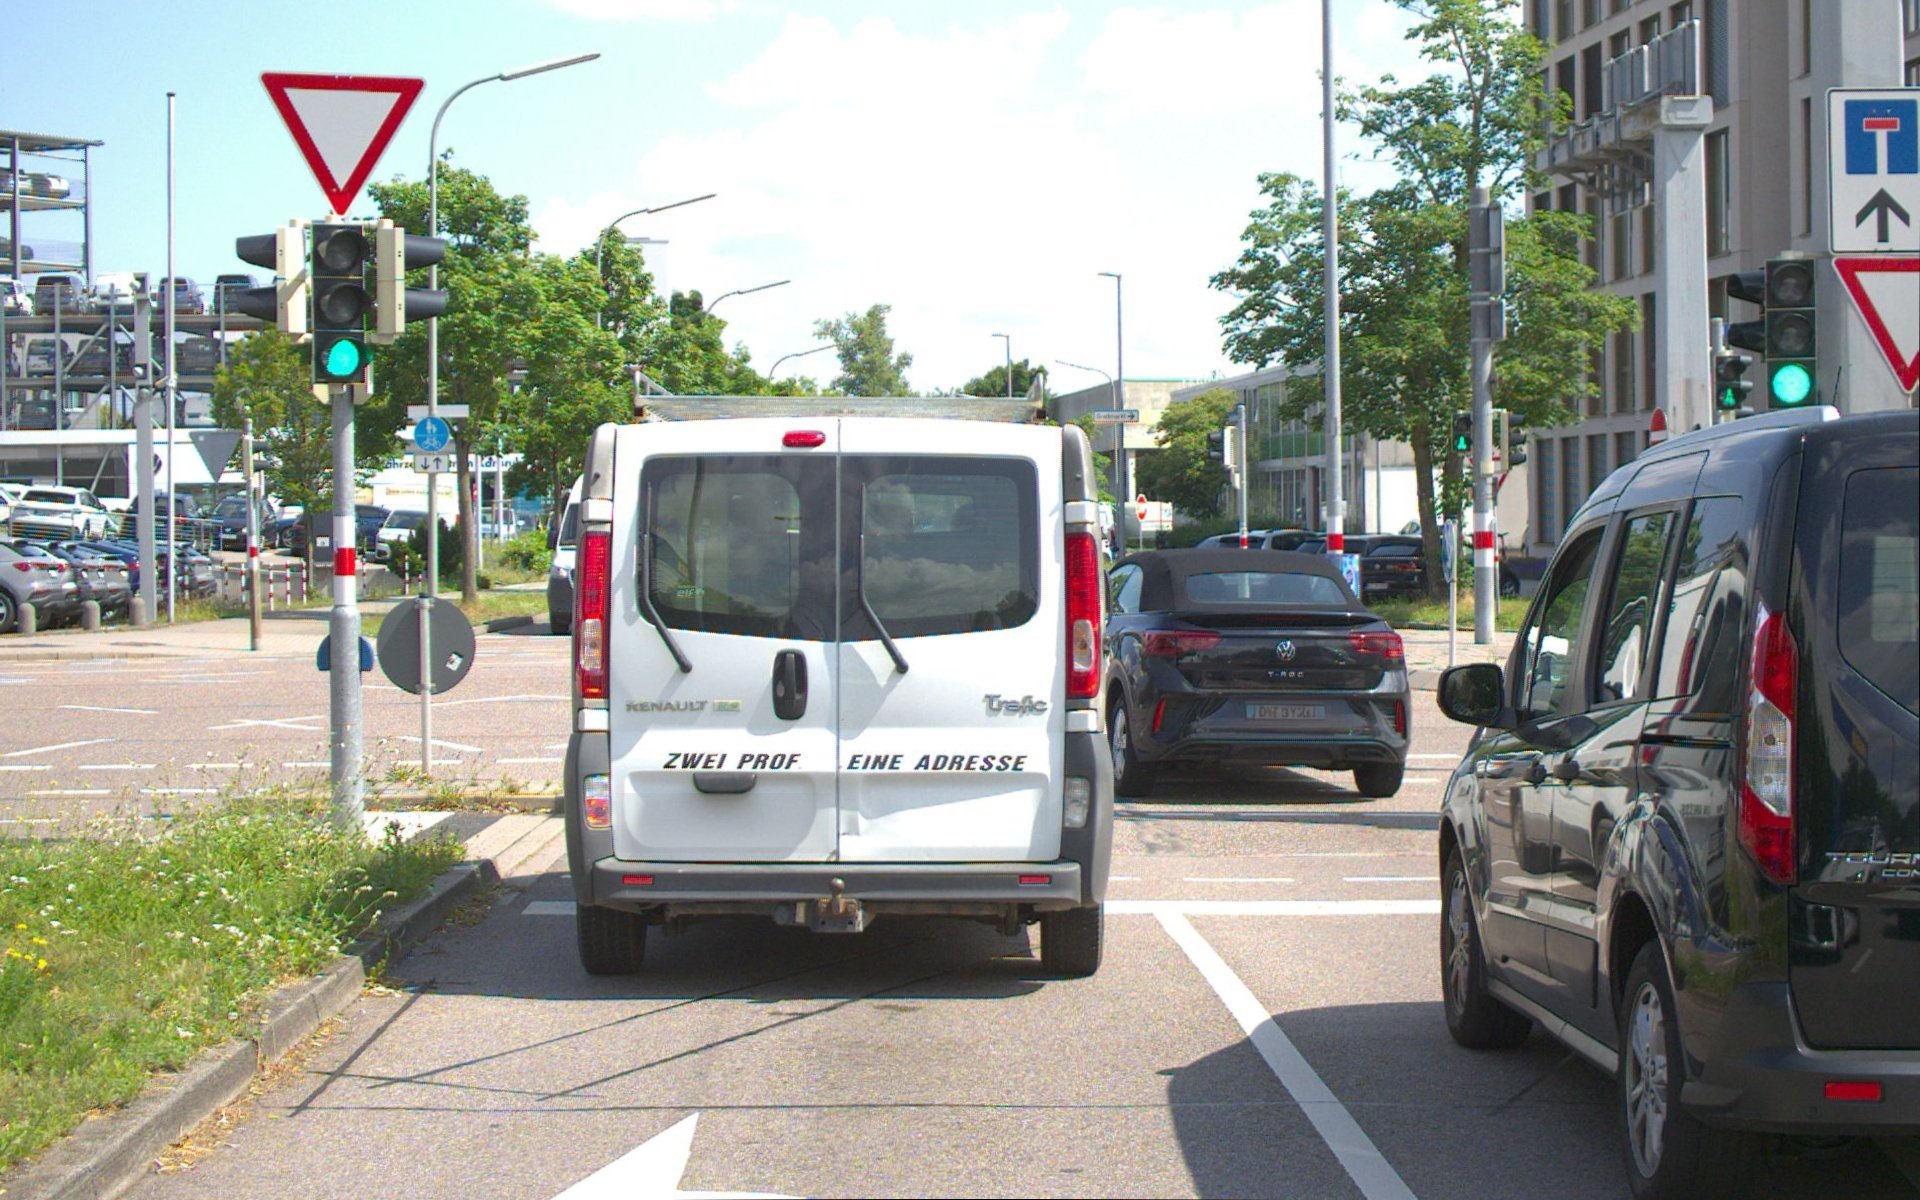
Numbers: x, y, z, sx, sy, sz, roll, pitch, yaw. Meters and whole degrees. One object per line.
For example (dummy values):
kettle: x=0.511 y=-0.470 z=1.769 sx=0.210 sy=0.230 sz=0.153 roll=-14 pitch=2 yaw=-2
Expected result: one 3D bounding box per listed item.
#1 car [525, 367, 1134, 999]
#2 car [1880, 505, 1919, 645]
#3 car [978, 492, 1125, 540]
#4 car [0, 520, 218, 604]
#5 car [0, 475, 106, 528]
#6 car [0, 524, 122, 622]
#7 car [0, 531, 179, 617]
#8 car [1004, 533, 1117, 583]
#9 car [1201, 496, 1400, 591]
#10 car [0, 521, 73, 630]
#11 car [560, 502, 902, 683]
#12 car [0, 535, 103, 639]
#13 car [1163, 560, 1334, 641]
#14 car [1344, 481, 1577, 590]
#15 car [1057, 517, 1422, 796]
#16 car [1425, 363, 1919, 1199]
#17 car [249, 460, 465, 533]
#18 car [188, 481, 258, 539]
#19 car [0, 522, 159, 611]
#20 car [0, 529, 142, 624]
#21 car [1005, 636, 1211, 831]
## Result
car: x=-0.468 y=0.244 z=13.480 sx=1.973 sy=2.053 sz=4.565 roll=0 pitch=1 yaw=-1
car: x=14.957 y=-0.293 z=45.450 sx=4.975 sy=1.831 sz=2.000 roll=1 pitch=0 yaw=-8
car: x=4.043 y=-3.718 z=152.553 sx=6.340 sy=2.007 sz=2.573 roll=1 pitch=0 yaw=-3
car: x=-18.130 y=-0.798 z=72.562 sx=4.574 sy=1.672 sz=1.907 roll=1 pitch=0 yaw=-4
car: x=-28.342 y=-3.025 z=105.645 sx=3.986 sy=1.547 sz=1.765 roll=1 pitch=0 yaw=-12
car: x=-17.152 y=-0.489 z=60.085 sx=4.574 sy=1.672 sz=1.907 roll=1 pitch=0 yaw=-4
car: x=-17.861 y=-0.522 z=67.789 sx=4.574 sy=1.672 sz=1.907 roll=0 pitch=1 yaw=-4
car: x=3.718 y=-1.550 z=127.653 sx=3.986 sy=1.744 sz=2.000 roll=1 pitch=0 yaw=-5
car: x=7.513 y=-1.237 z=76.153 sx=3.986 sy=2.007 sz=2.000 roll=1 pitch=0 yaw=-9
car: x=-16.526 y=-0.413 z=54.279 sx=4.574 sy=1.672 sz=1.907 roll=1 pitch=0 yaw=-4
car: x=-2.253 y=-0.078 z=32.875 sx=1.771 sy=1.612 sz=4.000 roll=1 pitch=0 yaw=-28
car: x=-16.718 y=-0.242 z=56.984 sx=4.574 sy=1.672 sz=1.907 roll=1 pitch=0 yaw=-4
car: x=7.387 y=0.019 z=88.334 sx=3.986 sy=2.007 sz=2.000 roll=1 pitch=0 yaw=-9
car: x=9.586 y=-1.218 z=65.973 sx=3.986 sy=2.007 sz=2.000 roll=1 pitch=0 yaw=-9
car: x=1.695 y=0.308 z=22.129 sx=1.773 sy=1.624 sz=4.001 roll=0 pitch=1 yaw=-4
car: x=2.376 y=0.461 z=8.796 sx=1.823 sy=1.898 sz=4.000 roll=0 pitch=1 yaw=0
car: x=-18.491 y=-3.160 z=105.577 sx=6.386 sy=2.095 sz=1.765 roll=1 pitch=0 yaw=-5
car: x=-21.117 y=-2.563 z=98.591 sx=1.560 sy=1.547 sz=3.603 roll=1 pitch=0 yaw=-6
car: x=-17.679 y=-0.643 z=65.230 sx=4.574 sy=1.672 sz=1.907 roll=0 pitch=1 yaw=-4
car: x=-17.422 y=-0.446 z=62.752 sx=4.574 sy=1.672 sz=1.907 roll=1 pitch=0 yaw=-4
car: x=1.334 y=1.199 z=32.407 sx=1.774 sy=1.624 sz=4.000 roll=0 pitch=1 yaw=0
